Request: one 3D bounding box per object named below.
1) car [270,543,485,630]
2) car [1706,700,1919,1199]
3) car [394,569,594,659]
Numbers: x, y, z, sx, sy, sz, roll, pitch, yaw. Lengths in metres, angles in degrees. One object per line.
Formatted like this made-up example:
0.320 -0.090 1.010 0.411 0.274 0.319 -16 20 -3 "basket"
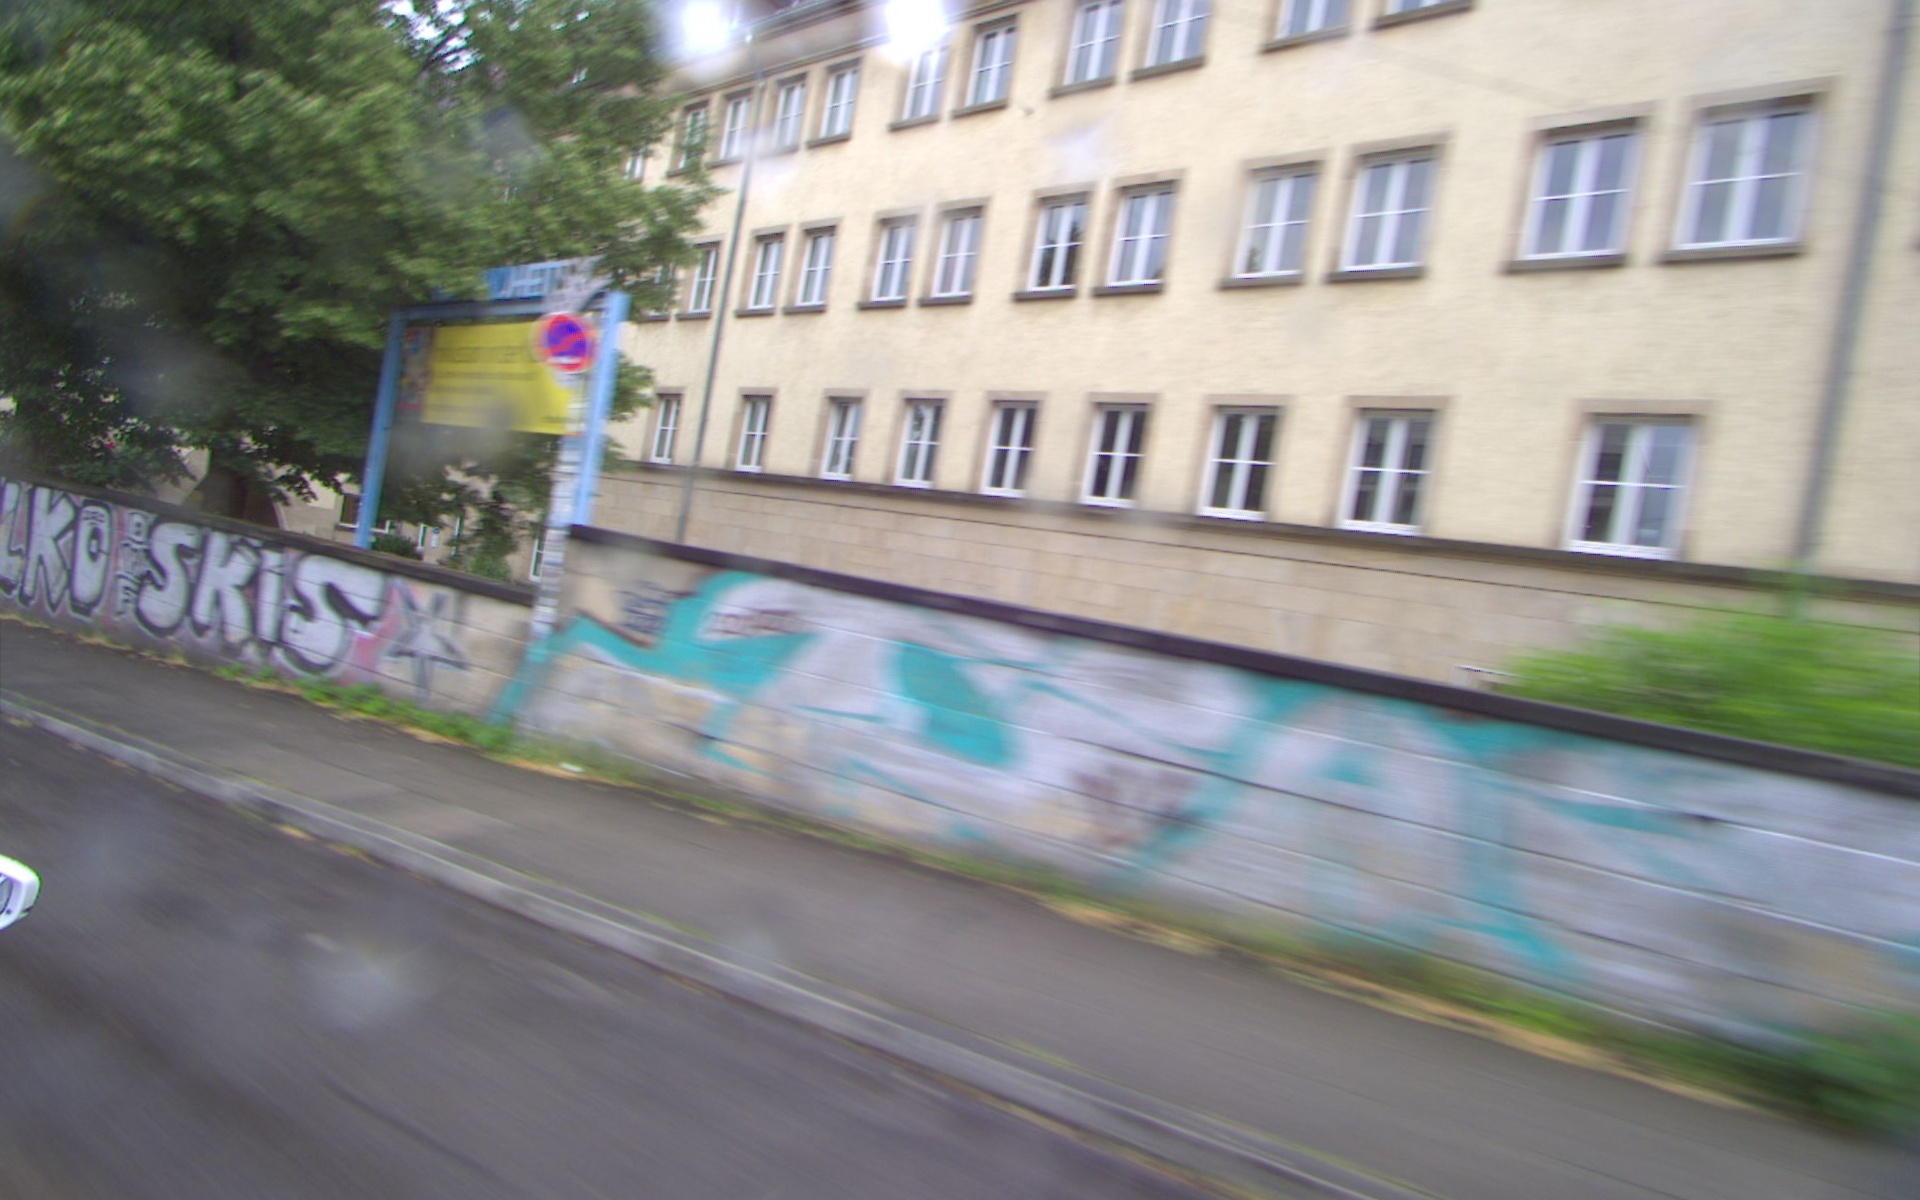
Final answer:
-15.213 -0.302 26.509 1.767 1.607 4.452 9 0 36 "car"
3.087 1.148 0.552 4.038 1.543 1.669 7 0 29 "car"
-11.046 0.394 24.093 1.603 1.514 3.942 10 -1 34 "car"
